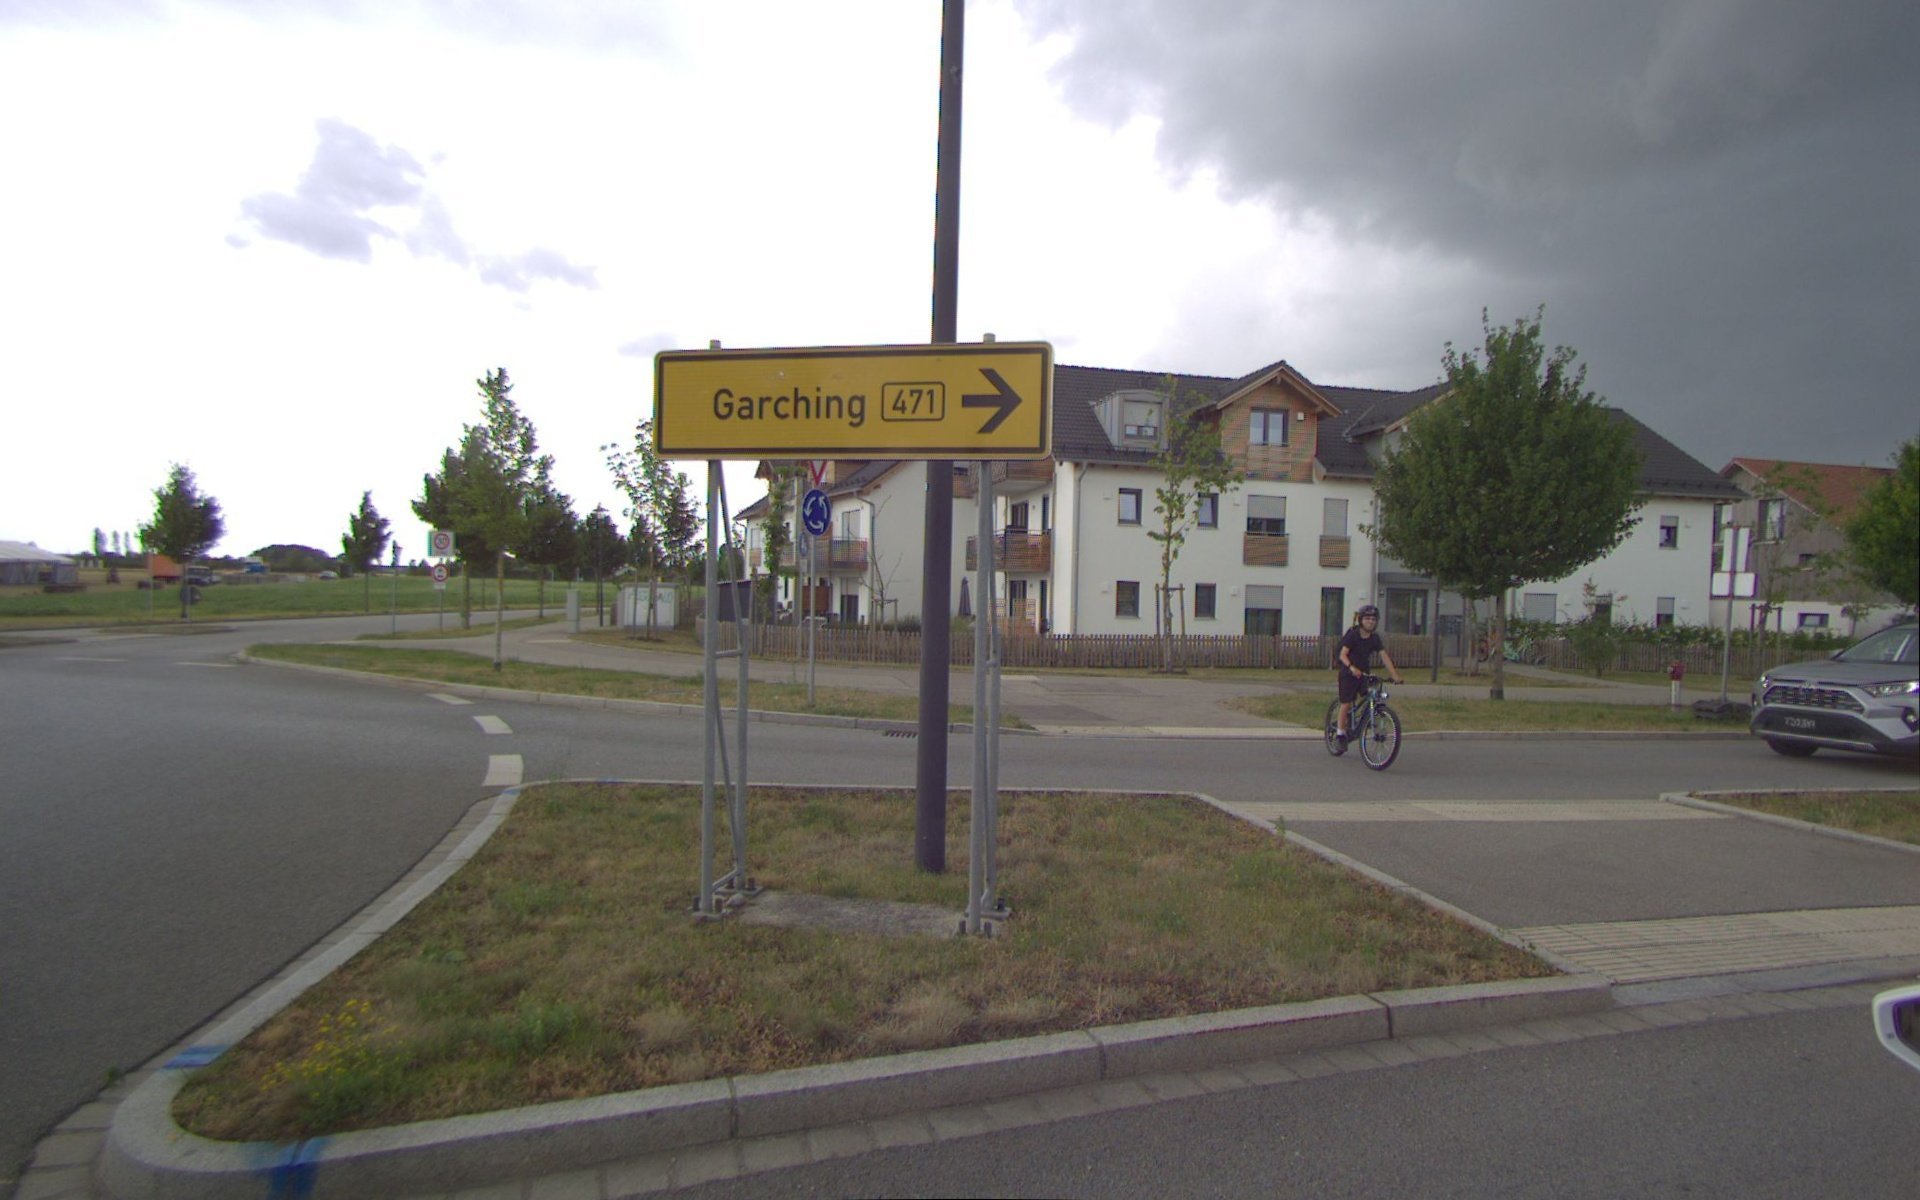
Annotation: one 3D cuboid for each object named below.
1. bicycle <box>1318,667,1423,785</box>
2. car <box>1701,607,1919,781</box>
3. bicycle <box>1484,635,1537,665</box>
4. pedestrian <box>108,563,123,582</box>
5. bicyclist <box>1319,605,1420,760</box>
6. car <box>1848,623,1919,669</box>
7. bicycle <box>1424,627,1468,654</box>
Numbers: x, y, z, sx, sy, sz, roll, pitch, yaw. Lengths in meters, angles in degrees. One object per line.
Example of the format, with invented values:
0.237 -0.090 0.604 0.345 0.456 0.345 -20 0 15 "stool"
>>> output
3.990 1.191 9.875 0.487 0.959 1.715 1 -1 6 "bicycle"
11.253 1.006 11.465 4.555 1.726 1.995 2 0 -13 "car"
17.050 1.552 31.132 1.520 0.854 0.367 2 3 -12 "bicycle"
-94.682 -3.092 112.598 1.037 2.041 1.054 1 1 -25 "pedestrian"
4.095 0.797 10.104 0.710 1.466 0.870 1 0 6 "bicyclist"
41.121 2.011 43.206 4.384 1.795 1.997 2 1 -9 "car"
16.396 1.372 33.886 1.314 0.854 0.367 2 3 -12 "bicycle"
